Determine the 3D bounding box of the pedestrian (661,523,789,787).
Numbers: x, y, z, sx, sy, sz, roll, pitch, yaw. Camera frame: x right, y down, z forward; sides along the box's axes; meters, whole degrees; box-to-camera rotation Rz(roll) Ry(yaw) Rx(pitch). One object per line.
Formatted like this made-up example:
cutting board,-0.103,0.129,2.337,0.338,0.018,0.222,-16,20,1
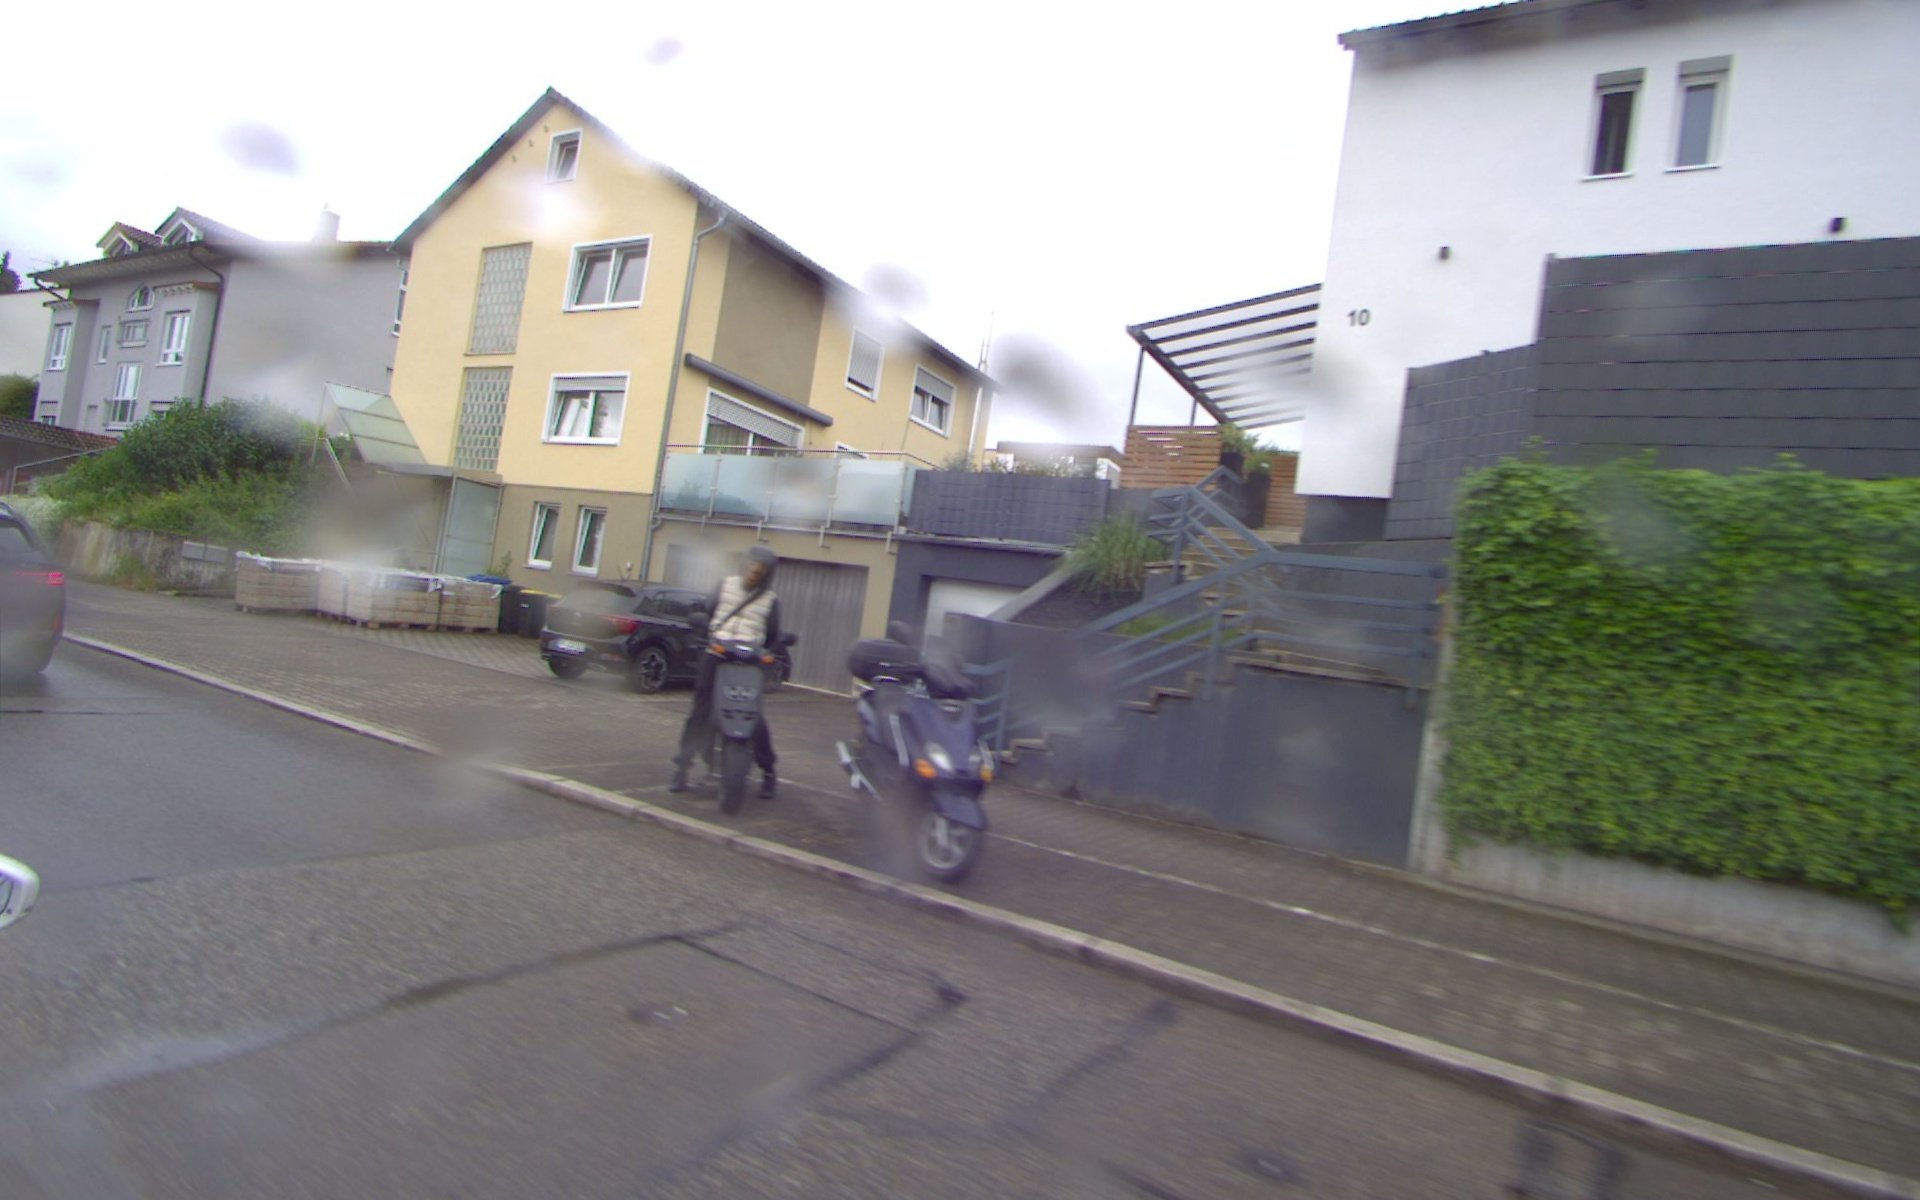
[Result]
pedestrian,-1.622,0.374,7.031,0.612,1.668,0.831,8,-2,-11

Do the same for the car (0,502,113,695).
car,-9.405,-0.226,8.760,3.936,1.500,1.997,6,-3,34

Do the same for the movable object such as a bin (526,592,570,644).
movable object such as a bin,-8.304,0.360,20.267,0.533,0.958,0.491,6,-2,31

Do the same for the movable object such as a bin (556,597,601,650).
movable object such as a bin,-7.479,0.460,19.739,0.533,0.958,0.491,6,-2,31

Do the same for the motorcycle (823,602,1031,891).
motorcycle,-0.305,0.805,6.440,0.809,1.467,2.085,8,-1,-12

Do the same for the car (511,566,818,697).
car,-4.082,0.538,14.568,1.837,1.450,3.995,6,-2,30

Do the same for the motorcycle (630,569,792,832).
motorcycle,-1.664,0.622,6.958,0.747,1.467,2.086,8,-2,-11
